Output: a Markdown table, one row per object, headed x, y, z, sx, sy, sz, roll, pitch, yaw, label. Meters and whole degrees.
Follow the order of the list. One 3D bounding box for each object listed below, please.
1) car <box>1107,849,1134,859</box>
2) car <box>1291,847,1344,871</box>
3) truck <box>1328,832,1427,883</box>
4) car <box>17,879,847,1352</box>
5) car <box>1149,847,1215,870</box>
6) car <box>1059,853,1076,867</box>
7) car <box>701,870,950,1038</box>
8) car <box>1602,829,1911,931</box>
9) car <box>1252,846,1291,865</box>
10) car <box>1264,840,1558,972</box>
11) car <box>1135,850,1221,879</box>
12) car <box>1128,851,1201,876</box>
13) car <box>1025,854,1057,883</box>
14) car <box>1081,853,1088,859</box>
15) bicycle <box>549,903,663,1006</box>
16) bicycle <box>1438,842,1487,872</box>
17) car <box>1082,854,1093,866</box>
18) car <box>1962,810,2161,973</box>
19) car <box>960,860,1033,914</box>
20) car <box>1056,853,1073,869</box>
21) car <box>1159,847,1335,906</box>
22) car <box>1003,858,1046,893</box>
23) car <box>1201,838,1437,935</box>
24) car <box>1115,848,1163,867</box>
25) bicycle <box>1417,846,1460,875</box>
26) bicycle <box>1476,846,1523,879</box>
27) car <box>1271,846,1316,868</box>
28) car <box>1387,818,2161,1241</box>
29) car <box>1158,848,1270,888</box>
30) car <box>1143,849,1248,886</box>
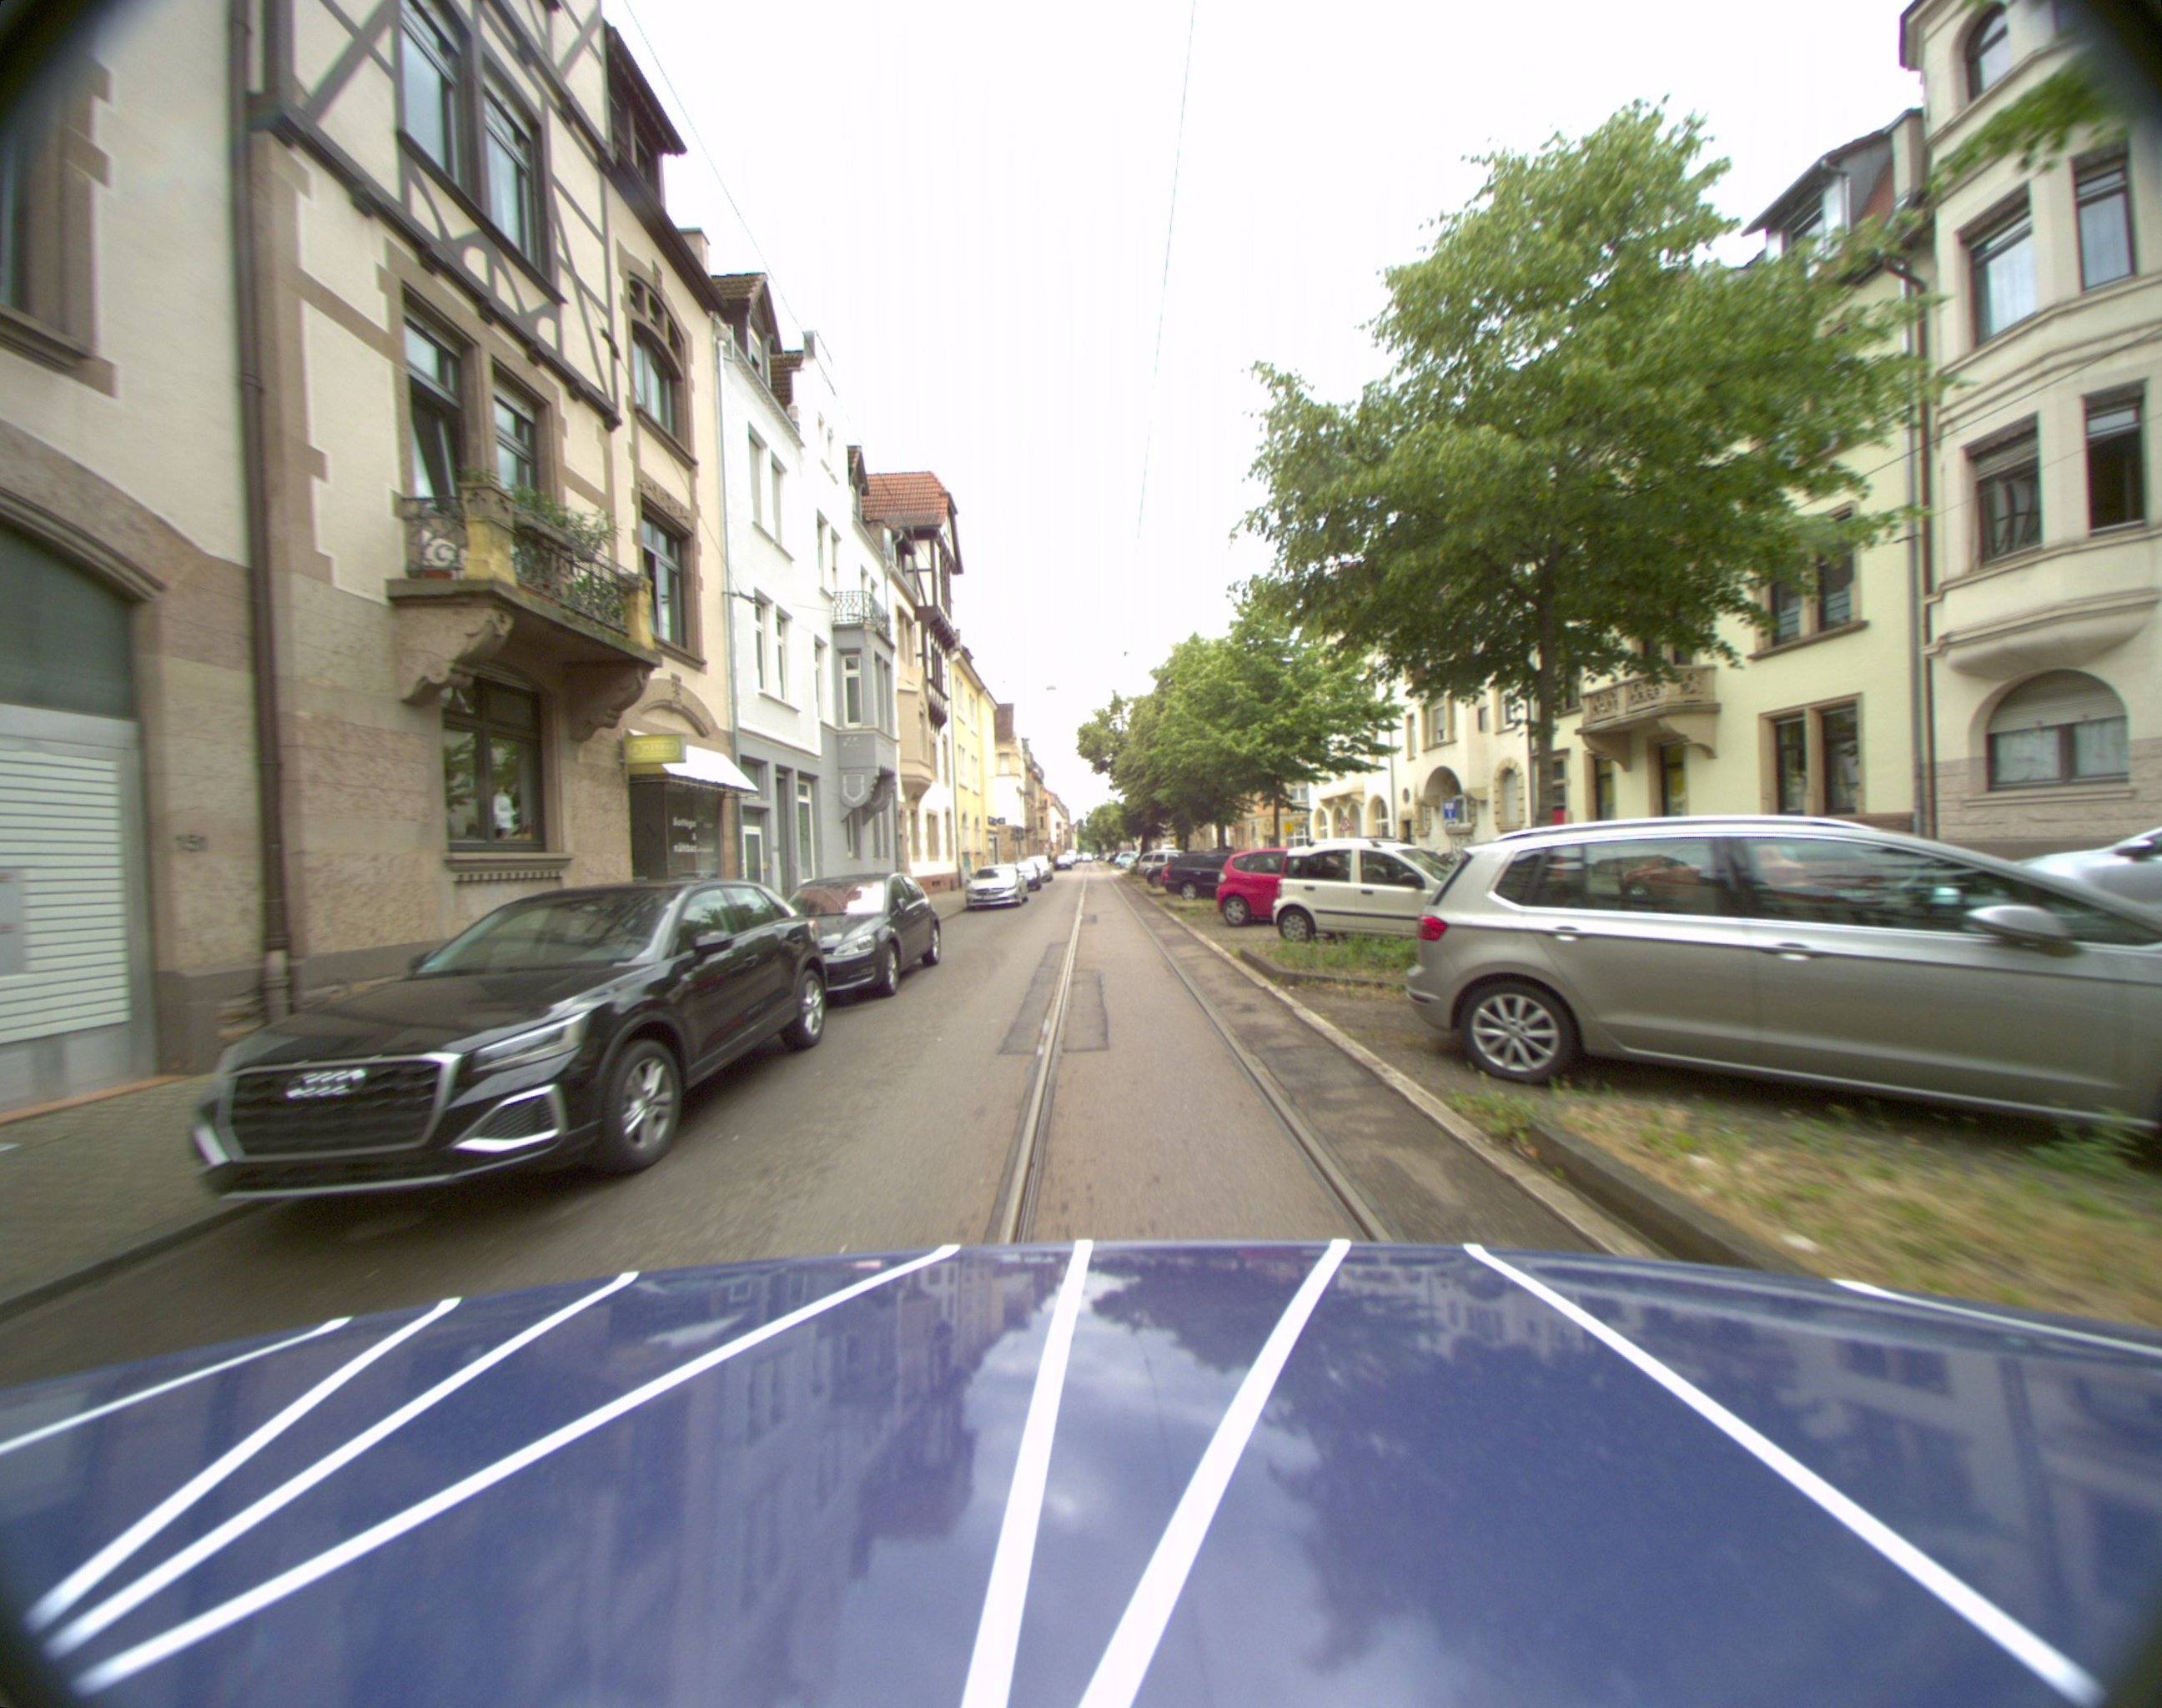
| x | y | z | sx | sy | sz | roll | pitch | yaw | label |
| --- | --- | --- | --- | --- | --- | --- | --- | --- | --- |
| 6.393 | 0.025 | 123.080 | 3.991 | 1.602 | 1.901 | -2 | -1 | 22 | car |
| 12.433 | 0.239 | 40.172 | 1.639 | 1.169 | 3.380 | -3 | 0 | -1 | car |
| 12.270 | 0.109 | 31.970 | 2.150 | 1.845 | 6.065 | -3 | 0 | 5 | truck |
| -3.149 | 1.075 | 5.117 | 1.702 | 1.504 | 4.419 | -5 | 0 | -1 | car |
| 6.761 | 0.296 | 50.957 | 3.991 | 1.407 | 1.901 | -2 | -1 | 22 | car |
| -1.631 | 0.696 | 90.555 | 1.824 | 1.477 | 4.000 | -3 | 0 | 1 | car |
| -3.049 | 1.100 | 10.144 | 1.702 | 1.504 | 4.391 | -5 | 0 | 0 | car |
| 11.987 | 0.404 | 13.947 | 1.855 | 1.513 | 4.194 | -2 | 0 | -1 | car |
| 12.586 | 0.109 | 50.461 | 1.639 | 1.169 | 3.380 | -3 | 0 | -1 | car |
| 4.584 | 0.631 | 10.781 | 3.418 | 1.518 | 1.693 | -1 | 2 | 43 | car |
| 5.026 | 0.562 | 39.446 | 3.989 | 1.407 | 1.902 | -2 | -1 | 39 | car |
| 5.066 | 0.575 | 46.246 | 3.989 | 1.407 | 1.902 | -2 | -1 | 39 | car |
| -2.473 | 0.861 | 47.620 | 1.635 | 1.520 | 4.212 | -3 | 1 | 0 | car |
| 0.846 | 0.484 | 195.325 | 1.824 | 1.477 | 4.000 | -3 | 0 | 1 | car |
| -6.041 | 1.234 | 9.761 | 0.422 | 1.091 | 1.588 | 2 | 0 | 1 | bicycle |
| 15.310 | 0.123 | 30.546 | 0.613 | 1.120 | 1.914 | -5 | 0 | -11 | bicycle |
| 1.198 | 1.060 | 141.661 | 1.998 | 2.002 | 3.999 | -3 | 1 | 1 | car |
| 11.848 | 0.347 | 7.135 | 1.855 | 1.650 | 4.493 | -2 | 0 | -1 | car |
| -2.799 | 1.074 | 26.137 | 1.793 | 1.504 | 4.214 | -5 | 0 | 2 | car |
| -1.784 | 0.749 | 83.079 | 1.676 | 1.520 | 4.212 | -3 | 1 | 0 | car |
| 4.644 | 0.645 | 21.781 | 1.889 | 1.458 | 4.596 | -3 | 0 | -43 | car |
| -2.737 | 1.003 | 37.558 | 1.635 | 1.478 | 4.213 | -5 | 0 | 0 | car |
| 4.372 | 0.617 | 14.328 | 1.678 | 1.518 | 3.803 | -4 | 0 | -44 | car |
| 5.442 | 0.312 | 71.029 | 3.989 | 1.602 | 1.902 | -2 | -1 | 32 | car |
| 15.323 | 0.284 | 32.617 | 0.613 | 1.120 | 1.914 | -5 | 0 | -11 | bicycle |
| 15.385 | 0.297 | 28.000 | 0.612 | 1.120 | 1.916 | -5 | 0 | 0 | bicycle |
| 12.495 | 0.180 | 44.853 | 1.639 | 1.169 | 3.380 | -3 | 0 | -1 | car |
| 4.132 | 0.674 | 4.135 | 4.195 | 1.600 | 1.728 | -1 | 2 | 44 | car |
| 4.918 | 0.552 | 28.431 | 3.727 | 1.380 | 1.793 | -3 | -1 | 45 | car |
| 4.751 | 0.586 | 31.946 | 3.989 | 1.458 | 1.902 | -3 | -1 | 45 | car |
